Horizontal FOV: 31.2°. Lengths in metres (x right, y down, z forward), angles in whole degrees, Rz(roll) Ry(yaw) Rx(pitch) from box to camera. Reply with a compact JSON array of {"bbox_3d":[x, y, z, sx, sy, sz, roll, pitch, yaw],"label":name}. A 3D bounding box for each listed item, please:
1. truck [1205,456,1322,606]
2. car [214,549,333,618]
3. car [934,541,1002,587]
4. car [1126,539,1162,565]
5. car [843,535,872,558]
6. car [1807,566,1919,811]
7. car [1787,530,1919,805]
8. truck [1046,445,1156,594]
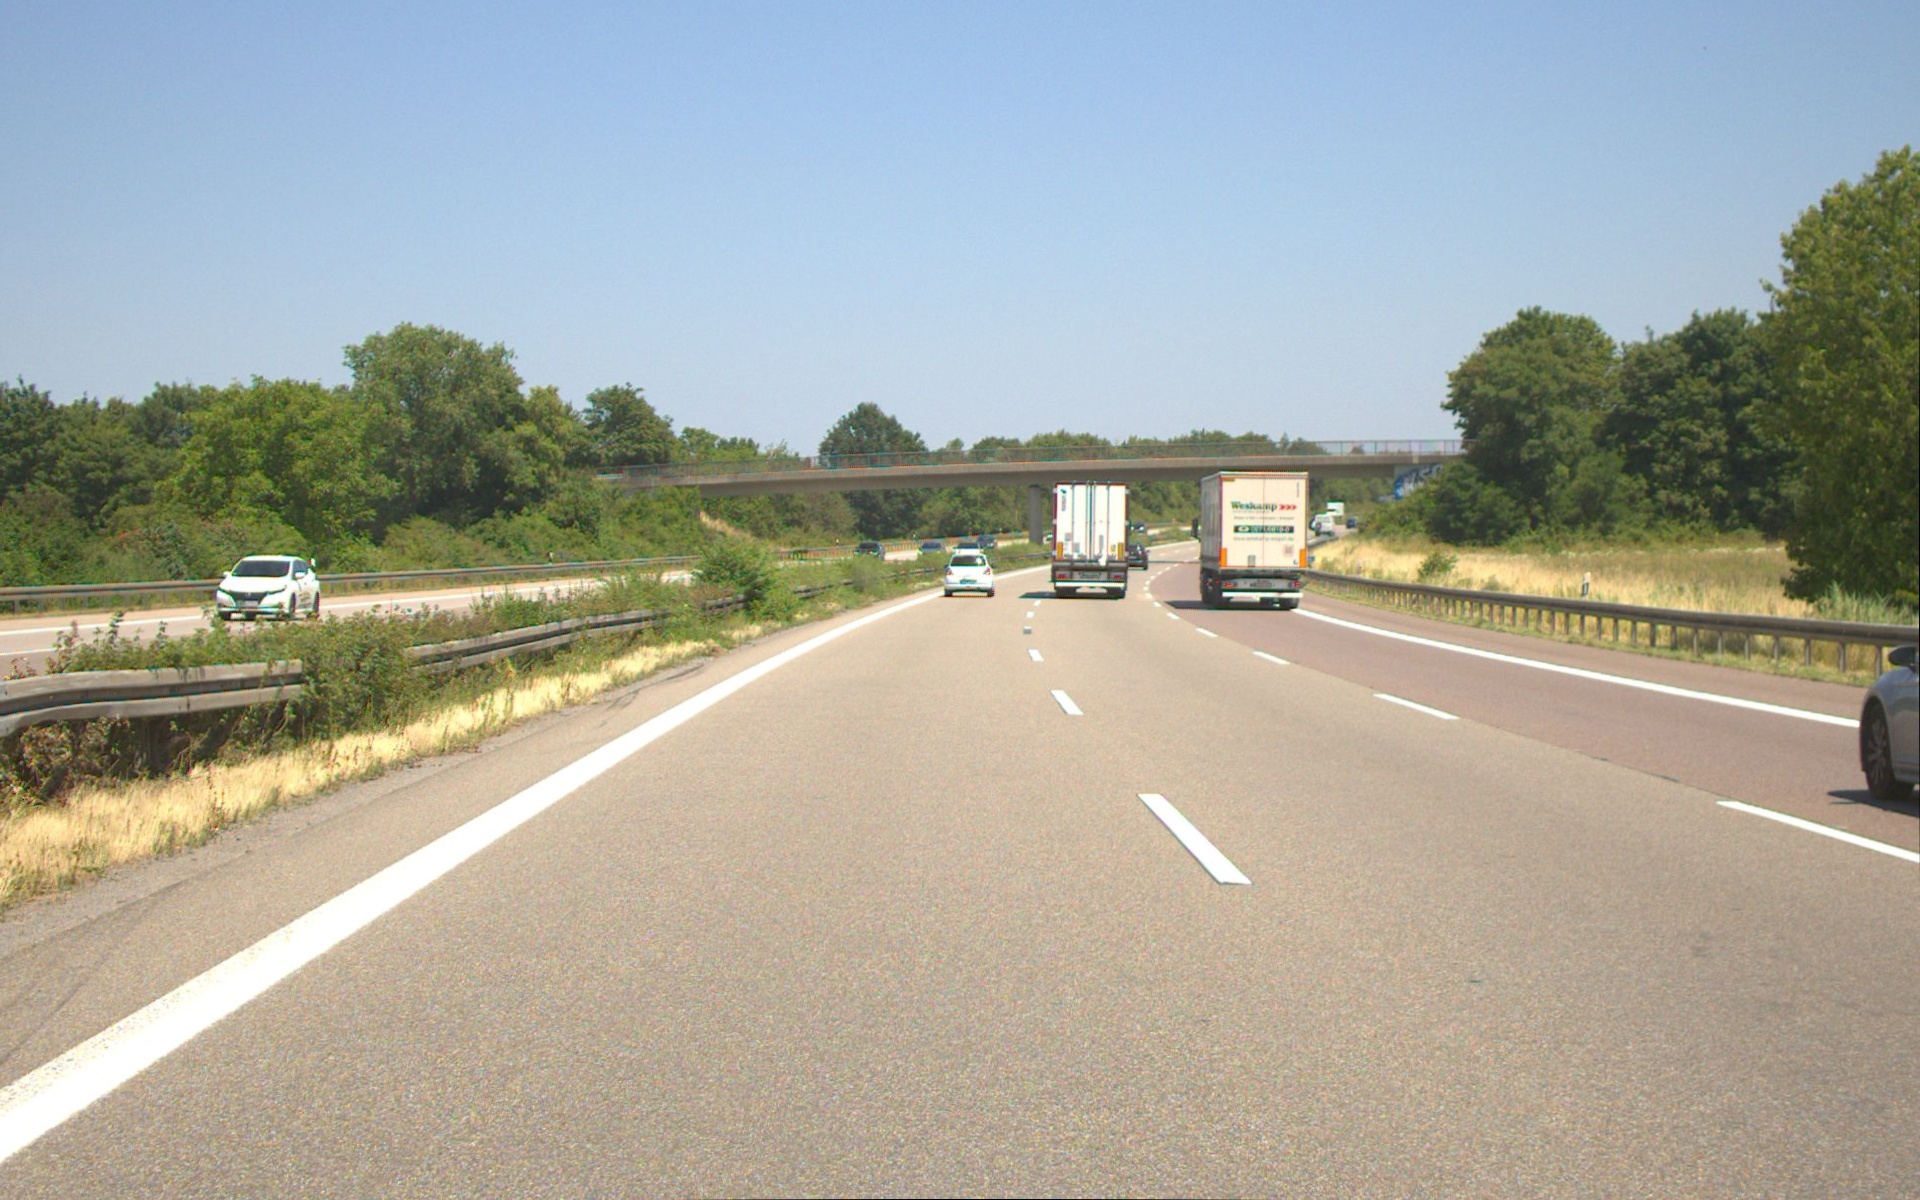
[{"bbox_3d":[9.323,-2.223,107.267,3.181,4.289,16.016,1,2,4],"label":"truck"},{"bbox_3d":[-16.707,-0.425,83.835,1.747,1.535,4.827,2,1,2],"label":"car"},{"bbox_3d":[0.294,-1.270,120.318,1.828,1.542,4.318,1,1,7],"label":"car"},{"bbox_3d":[11.297,-2.945,210.808,1.828,1.542,4.318,1,1,7],"label":"car"},{"bbox_3d":[-7.342,-3.831,246.450,1.782,1.655,4.657,0,1,2],"label":"car"},{"bbox_3d":[6.973,0.592,21.512,1.887,1.510,5.380,1,1,-1],"label":"car"},{"bbox_3d":[6.944,0.427,21.476,2.044,1.652,5.511,-1,2,-2],"label":"car"},{"bbox_3d":[5.195,-2.957,124.188,3.667,5.001,16.017,1,2,3],"label":"truck"}]
